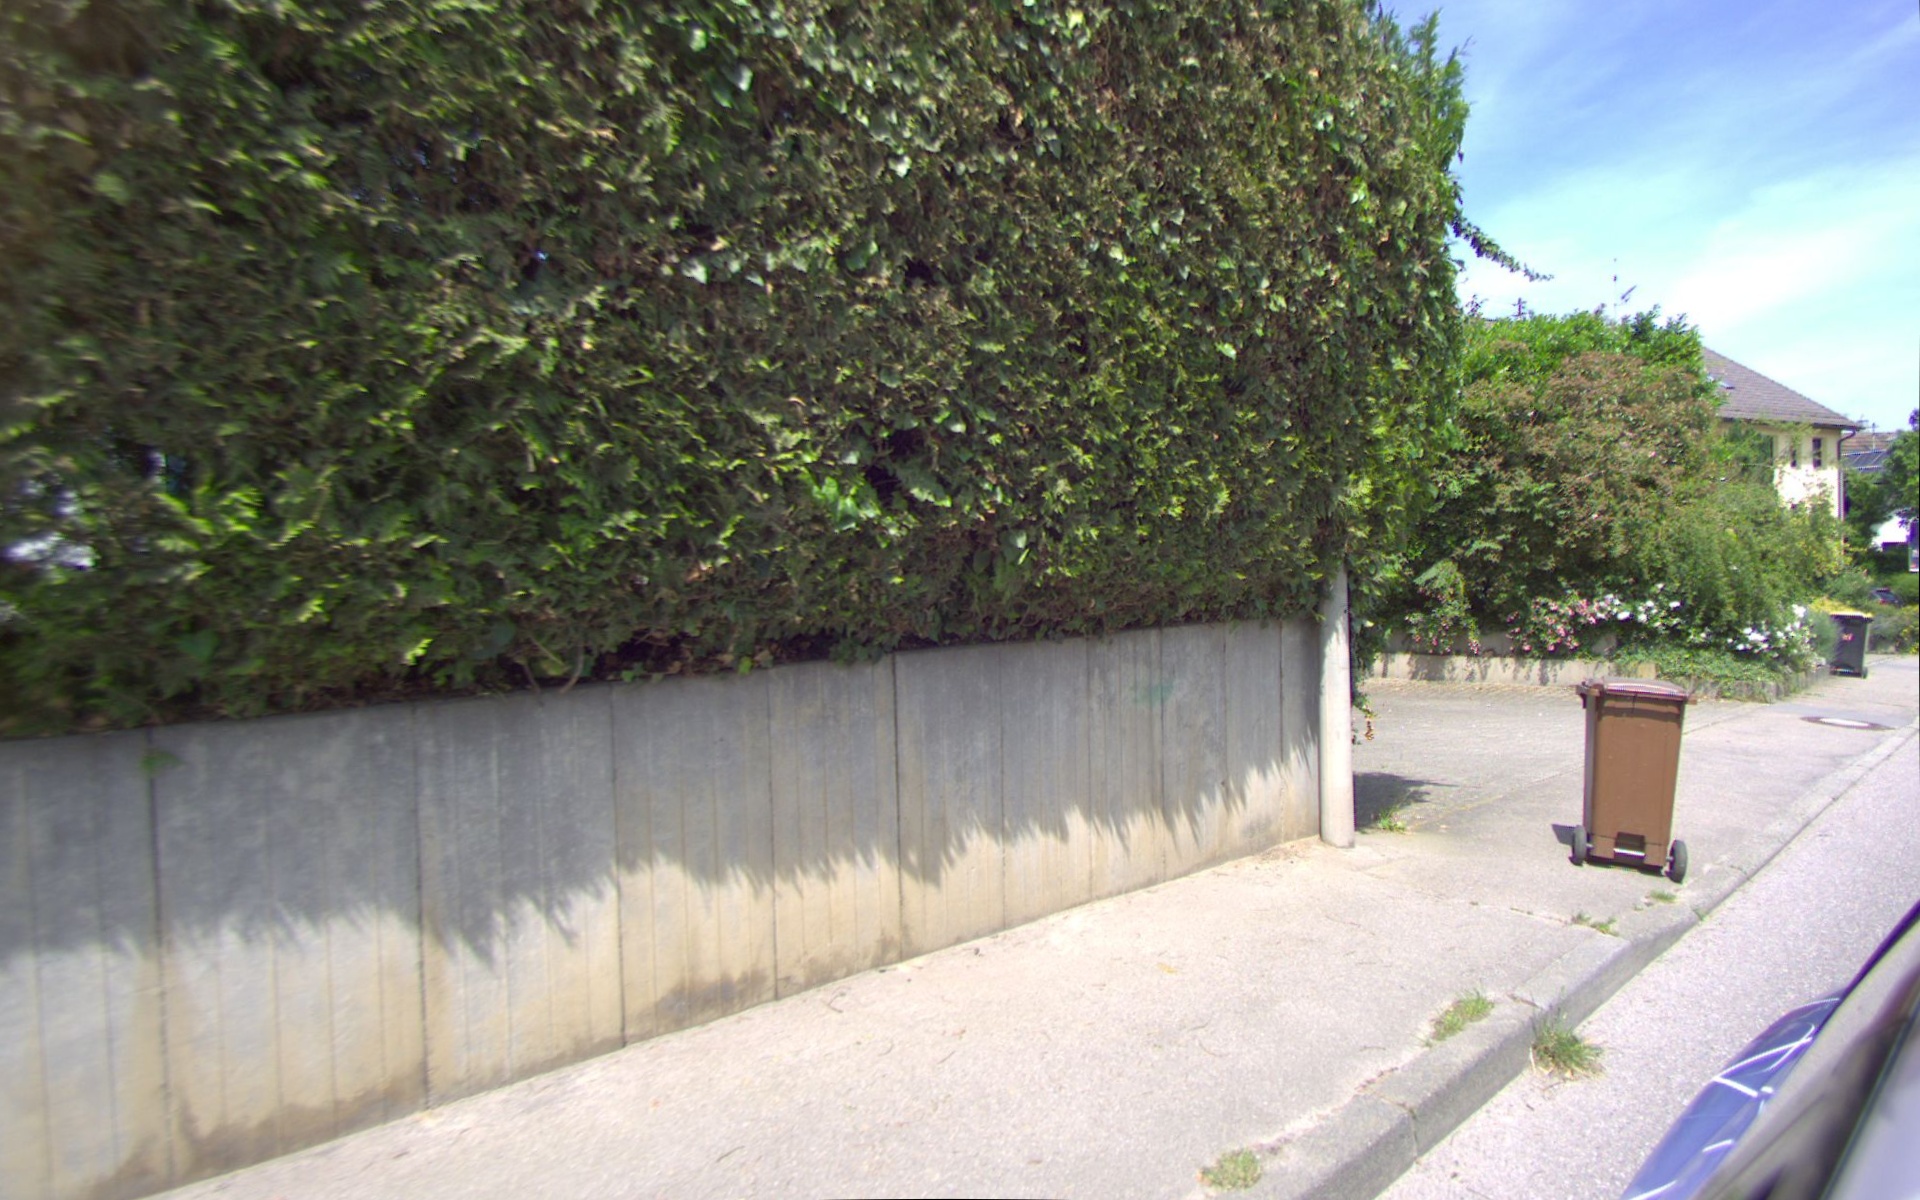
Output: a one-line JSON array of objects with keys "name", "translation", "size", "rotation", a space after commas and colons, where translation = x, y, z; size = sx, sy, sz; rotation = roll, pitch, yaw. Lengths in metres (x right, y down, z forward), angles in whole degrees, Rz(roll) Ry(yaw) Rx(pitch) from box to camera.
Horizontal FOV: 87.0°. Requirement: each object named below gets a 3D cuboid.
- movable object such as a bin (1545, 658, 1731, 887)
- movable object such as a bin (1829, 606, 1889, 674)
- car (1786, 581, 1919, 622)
[{"name": "movable object such as a bin", "translation": [3.500, 0.838, 5.223], "size": [0.772, 0.989, 0.589], "rotation": [0, 3, -41]}, {"name": "movable object such as a bin", "translation": [15.086, 0.655, 16.976], "size": [0.903, 1.072, 0.590], "rotation": [0, 1, -39]}, {"name": "car", "translation": [34.723, 0.022, 39.365], "size": [1.610, 1.435, 3.701], "rotation": [-1, 2, -23]}]
